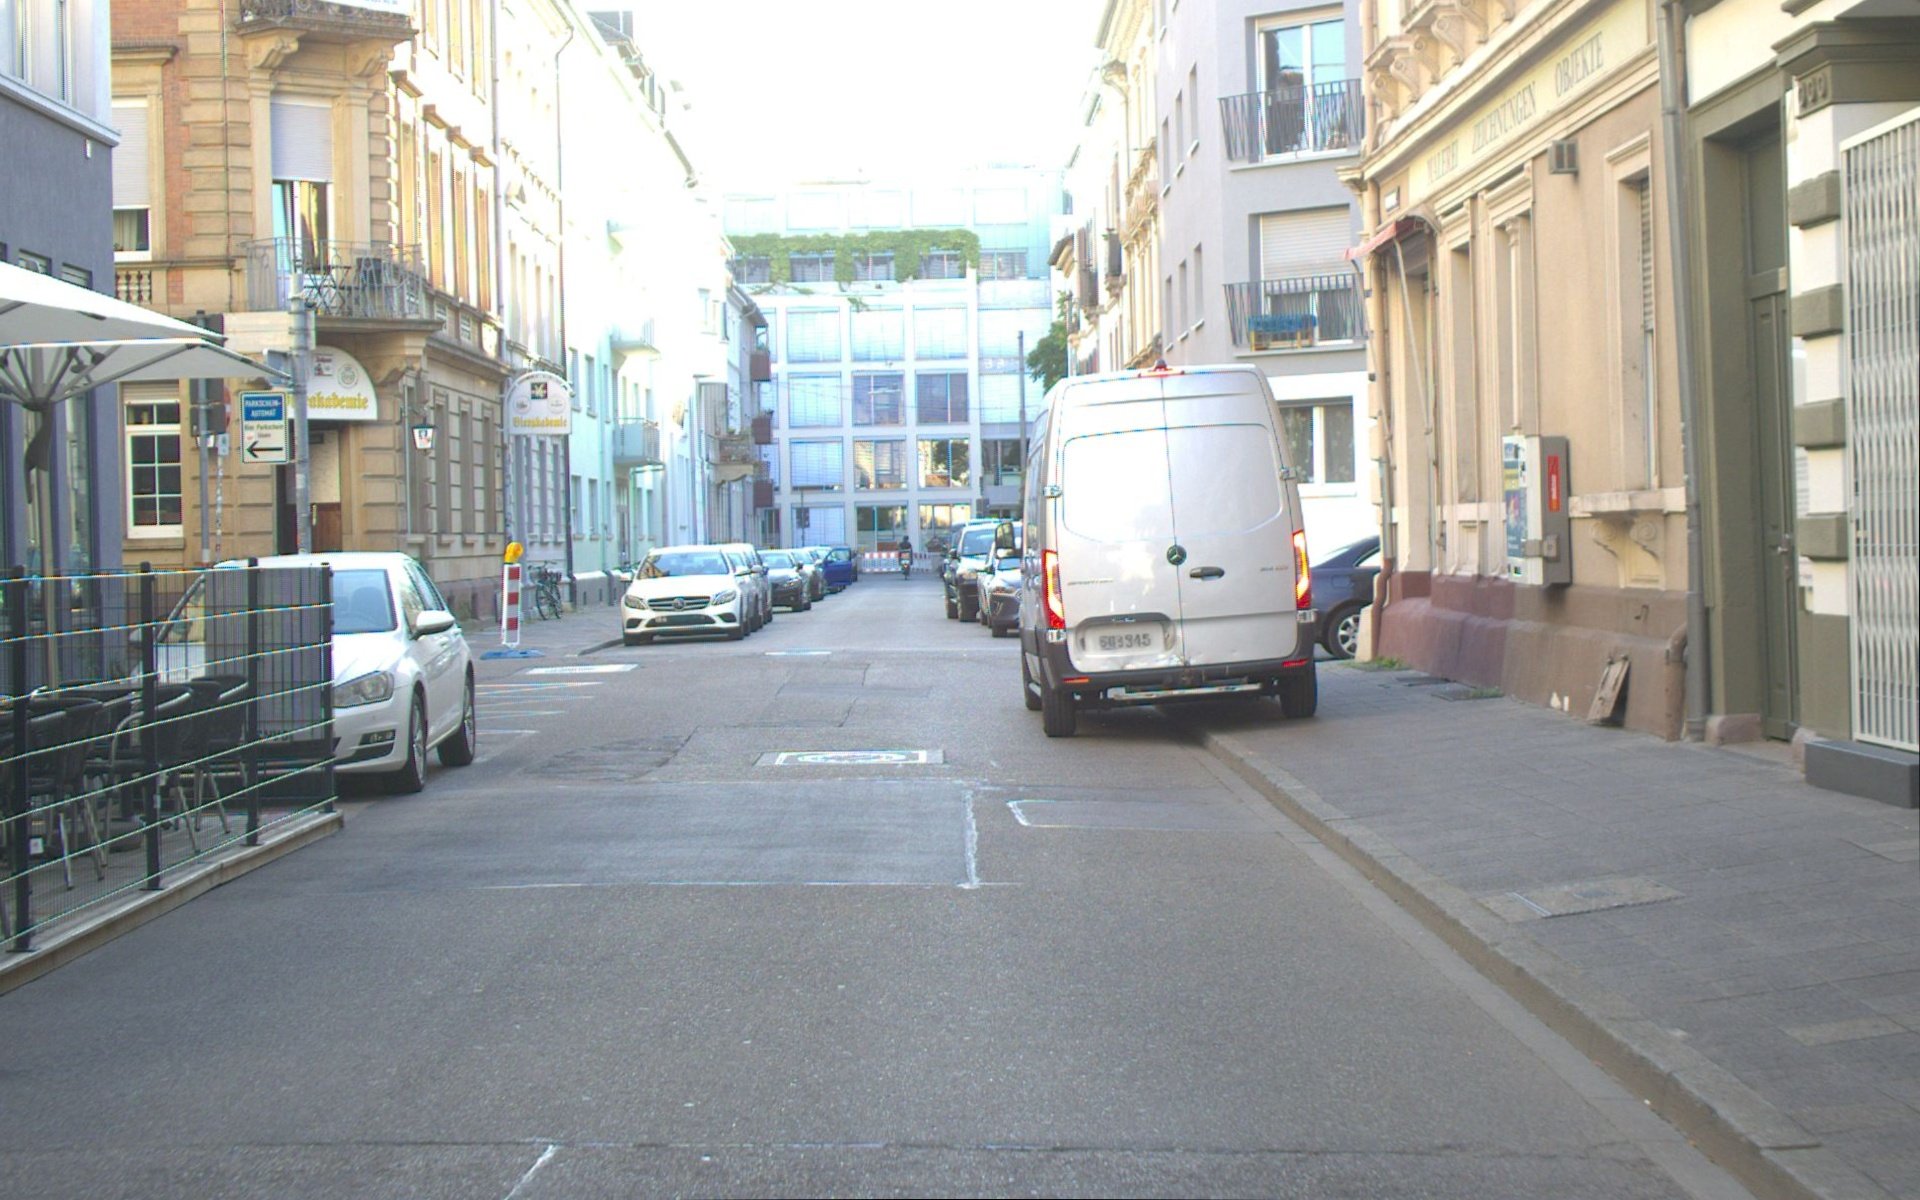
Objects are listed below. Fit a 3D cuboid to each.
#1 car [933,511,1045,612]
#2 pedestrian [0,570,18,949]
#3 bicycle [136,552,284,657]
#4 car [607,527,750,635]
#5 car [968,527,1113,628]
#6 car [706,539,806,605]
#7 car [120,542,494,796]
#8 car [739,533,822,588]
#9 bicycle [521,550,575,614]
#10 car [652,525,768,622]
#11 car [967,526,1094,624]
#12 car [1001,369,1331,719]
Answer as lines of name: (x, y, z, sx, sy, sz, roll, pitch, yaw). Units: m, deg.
car: (0.509, -0.730, 63.489, 1.893, 1.778, 4.000, -1, 1, -1)
pedestrian: (-3.654, 0.556, 11.392, 0.781, 1.282, 0.915, -1, 1, 0)
bicycle: (-9.706, 0.055, 44.522, 1.757, 1.270, 0.661, -1, 4, -4)
car: (-4.293, -0.328, 53.038, 1.993, 1.559, 4.507, -1, 1, -2)
car: (1.183, -0.367, 52.005, 1.938, 1.367, 3.789, -3, 1, -2)
car: (-4.483, -0.640, 75.986, 1.993, 1.350, 4.429, -1, 1, -1)
car: (-3.986, 0.364, 21.548, 1.657, 1.409, 3.883, -1, 1, -1)
car: (-4.891, -1.098, 93.754, 2.172, 1.413, 4.001, -1, 1, -3)
bicycle: (-7.720, -0.347, 64.458, 0.737, 1.156, 2.461, -1, 1, -1)
car: (-4.237, -0.481, 58.728, 1.625, 1.571, 3.754, -1, 1, 1)
car: (1.153, -0.446, 58.076, 1.963, 1.552, 3.889, -1, 1, -1)
car: (1.496, -0.461, 27.450, 2.277, 2.431, 6.203, -1, 1, 1)
